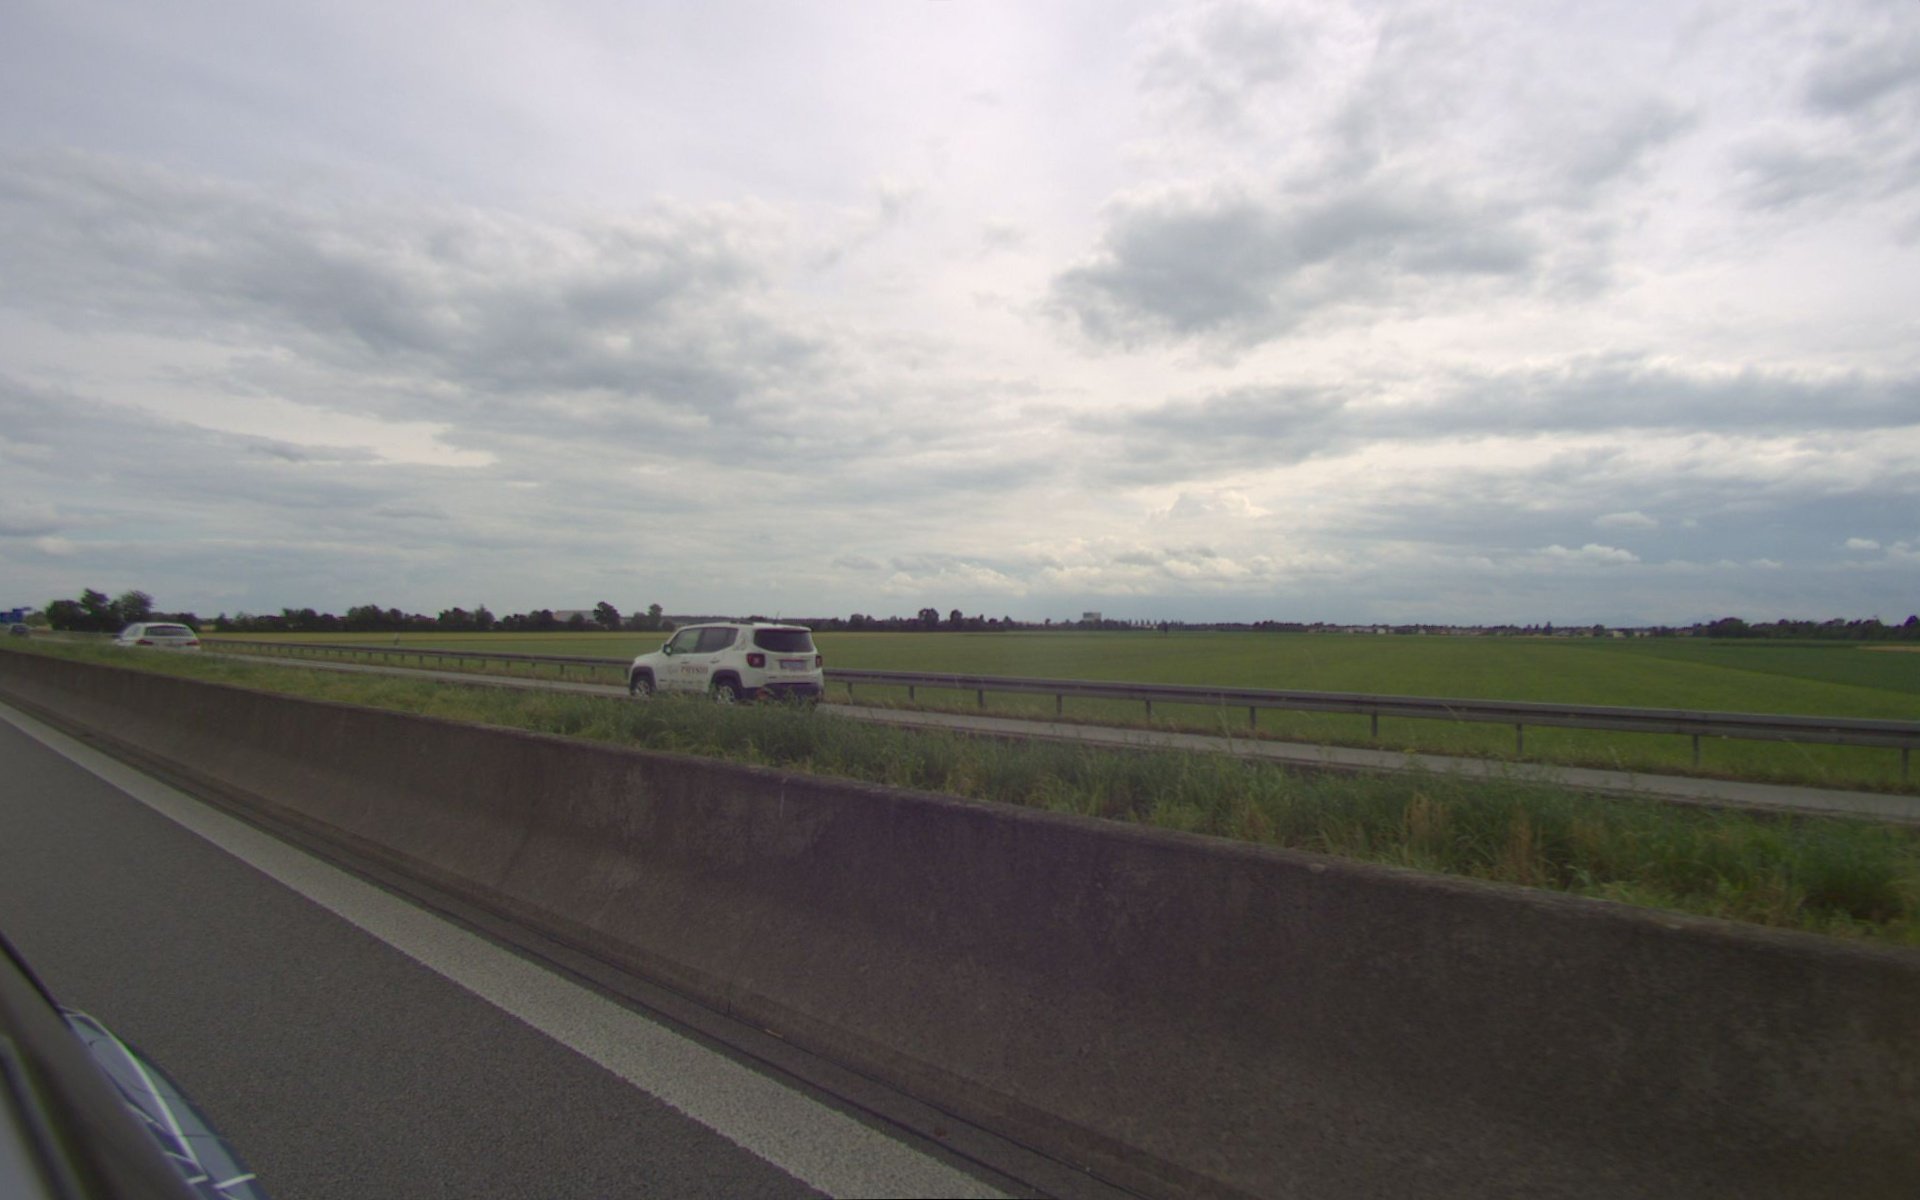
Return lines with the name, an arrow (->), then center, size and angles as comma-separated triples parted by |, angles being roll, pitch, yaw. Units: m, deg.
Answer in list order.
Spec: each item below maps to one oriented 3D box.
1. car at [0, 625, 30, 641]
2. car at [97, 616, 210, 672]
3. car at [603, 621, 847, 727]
car -> -93.671, 3.296, 100.296 | 4.528, 1.499, 1.727 | -1, -4, 42
car -> -26.345, 1.400, 32.986 | 5.172, 1.707, 1.927 | -1, -3, 41
car -> -4.292, 1.234, 18.046 | 4.689, 1.639, 1.817 | -1, -3, 41
